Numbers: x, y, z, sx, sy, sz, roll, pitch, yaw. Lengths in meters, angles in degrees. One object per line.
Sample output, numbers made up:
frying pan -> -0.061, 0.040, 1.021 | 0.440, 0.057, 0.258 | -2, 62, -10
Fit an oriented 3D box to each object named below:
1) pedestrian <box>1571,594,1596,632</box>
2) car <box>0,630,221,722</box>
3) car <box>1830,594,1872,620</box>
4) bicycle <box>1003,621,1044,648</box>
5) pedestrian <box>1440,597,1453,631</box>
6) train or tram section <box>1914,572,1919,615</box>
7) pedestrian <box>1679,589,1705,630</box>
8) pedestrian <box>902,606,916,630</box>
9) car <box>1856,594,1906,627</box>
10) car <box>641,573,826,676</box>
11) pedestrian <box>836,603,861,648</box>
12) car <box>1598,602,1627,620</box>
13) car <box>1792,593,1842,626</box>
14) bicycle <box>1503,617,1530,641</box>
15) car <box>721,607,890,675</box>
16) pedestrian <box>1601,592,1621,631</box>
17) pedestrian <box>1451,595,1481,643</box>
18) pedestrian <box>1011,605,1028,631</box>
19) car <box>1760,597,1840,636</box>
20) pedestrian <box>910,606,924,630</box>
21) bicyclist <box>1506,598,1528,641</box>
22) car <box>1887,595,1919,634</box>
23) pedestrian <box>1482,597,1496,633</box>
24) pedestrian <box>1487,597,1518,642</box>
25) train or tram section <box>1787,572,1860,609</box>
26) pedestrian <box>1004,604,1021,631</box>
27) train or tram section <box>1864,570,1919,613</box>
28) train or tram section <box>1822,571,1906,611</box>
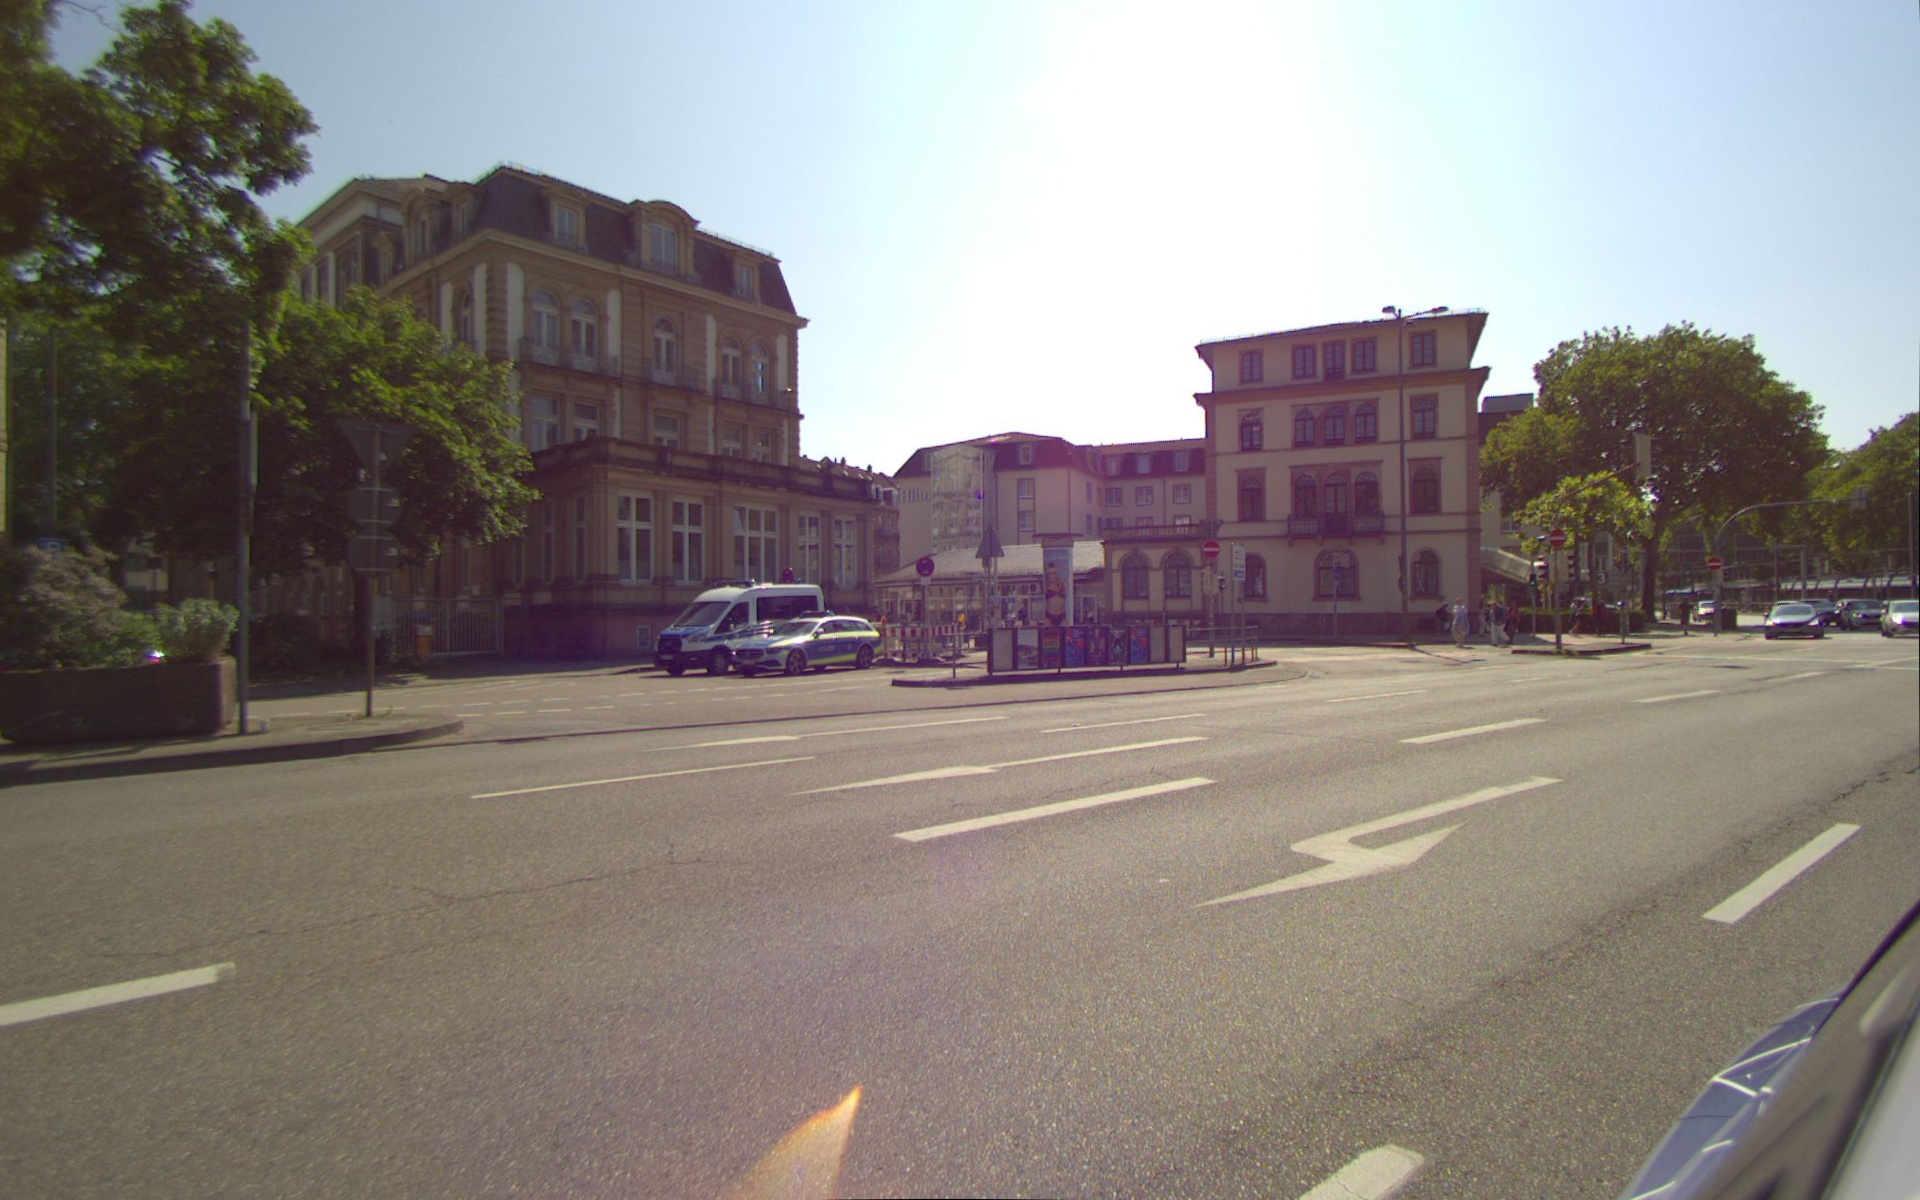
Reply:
pedestrian -> 28.525, 0.592, 46.317 | 0.834, 1.717, 0.739 | -1, -1, 22
car -> -15.262, 1.279, 17.534 | 3.628, 1.436, 1.750 | -1, -1, -3
car -> 51.418, 0.385, 58.421 | 1.785, 1.470, 3.914 | 1, 1, 41
bicycle -> 2.683, 1.453, 42.821 | 1.813, 1.113, 0.497 | 0, 0, 42
pedestrian -> 23.881, 0.699, 49.657 | 0.530, 1.670, 0.668 | -1, -1, 27
train or tram section -> 73.265, -0.551, 73.526 | 2.703, 3.309, 8.670 | -1, -1, 22
pedestrian -> 34.158, 0.450, 47.231 | 0.715, 1.869, 0.591 | -1, -1, 1
pedestrian -> -3.521, 1.223, 69.534 | 0.705, 1.624, 0.724 | 0, -1, -34
car -> 45.864, 0.495, 50.445 | 1.785, 1.549, 3.913 | 1, 1, 42
car -> -6.286, 0.655, 28.768 | 1.985, 2.637, 5.254 | -2, -1, 33
pedestrian -> -4.433, 1.020, 40.184 | 0.697, 1.774, 0.712 | -2, -1, 35
car -> 50.876, 0.865, 78.925 | 1.576, 1.339, 3.544 | -1, -1, 28
car -> 42.165, 0.428, 49.876 | 1.783, 1.549, 3.917 | 1, 1, 39
bicycle -> 21.111, 1.107, 38.351 | 0.590, 0.866, 1.720 | -2, -1, 39
car -> -4.059, 1.045, 27.344 | 1.808, 1.647, 4.823 | -2, -1, 32
pedestrian -> 30.480, 0.535, 47.414 | 0.720, 1.828, 0.645 | -1, -1, 30
pedestrian -> 18.039, 0.675, 36.089 | 0.751, 1.681, 0.817 | -2, -1, 42
pedestrian -> 3.711, 1.117, 63.104 | 0.706, 1.624, 0.724 | 0, -1, -38
car -> 34.703, 0.647, 41.905 | 1.776, 1.470, 3.934 | 0, 1, 28
pedestrian -> -3.024, 1.242, 70.818 | 0.705, 1.624, 0.724 | 0, -1, -35
bicyclist -> 21.166, 0.739, 38.438 | 0.590, 1.627, 0.674 | -2, -1, 40
car -> 38.000, 0.562, 39.883 | 1.782, 1.470, 3.920 | 1, 1, 37
pedestrian -> 24.917, 0.720, 47.705 | 0.530, 1.670, 0.574 | -1, -1, 27
pedestrian -> 19.204, 0.683, 35.819 | 0.771, 1.592, 0.816 | -2, -1, 44
train or tram section -> 83.101, -0.848, 97.592 | 2.703, 3.309, 8.670 | -1, -1, 22
pedestrian -> 3.245, 1.095, 62.734 | 0.706, 1.624, 0.723 | 0, -1, -39
train or tram section -> 76.520, -0.650, 81.530 | 2.703, 3.309, 8.670 | -1, -1, 22
train or tram section -> 79.798, -0.749, 89.566 | 2.703, 3.309, 8.670 | -1, -1, 22
